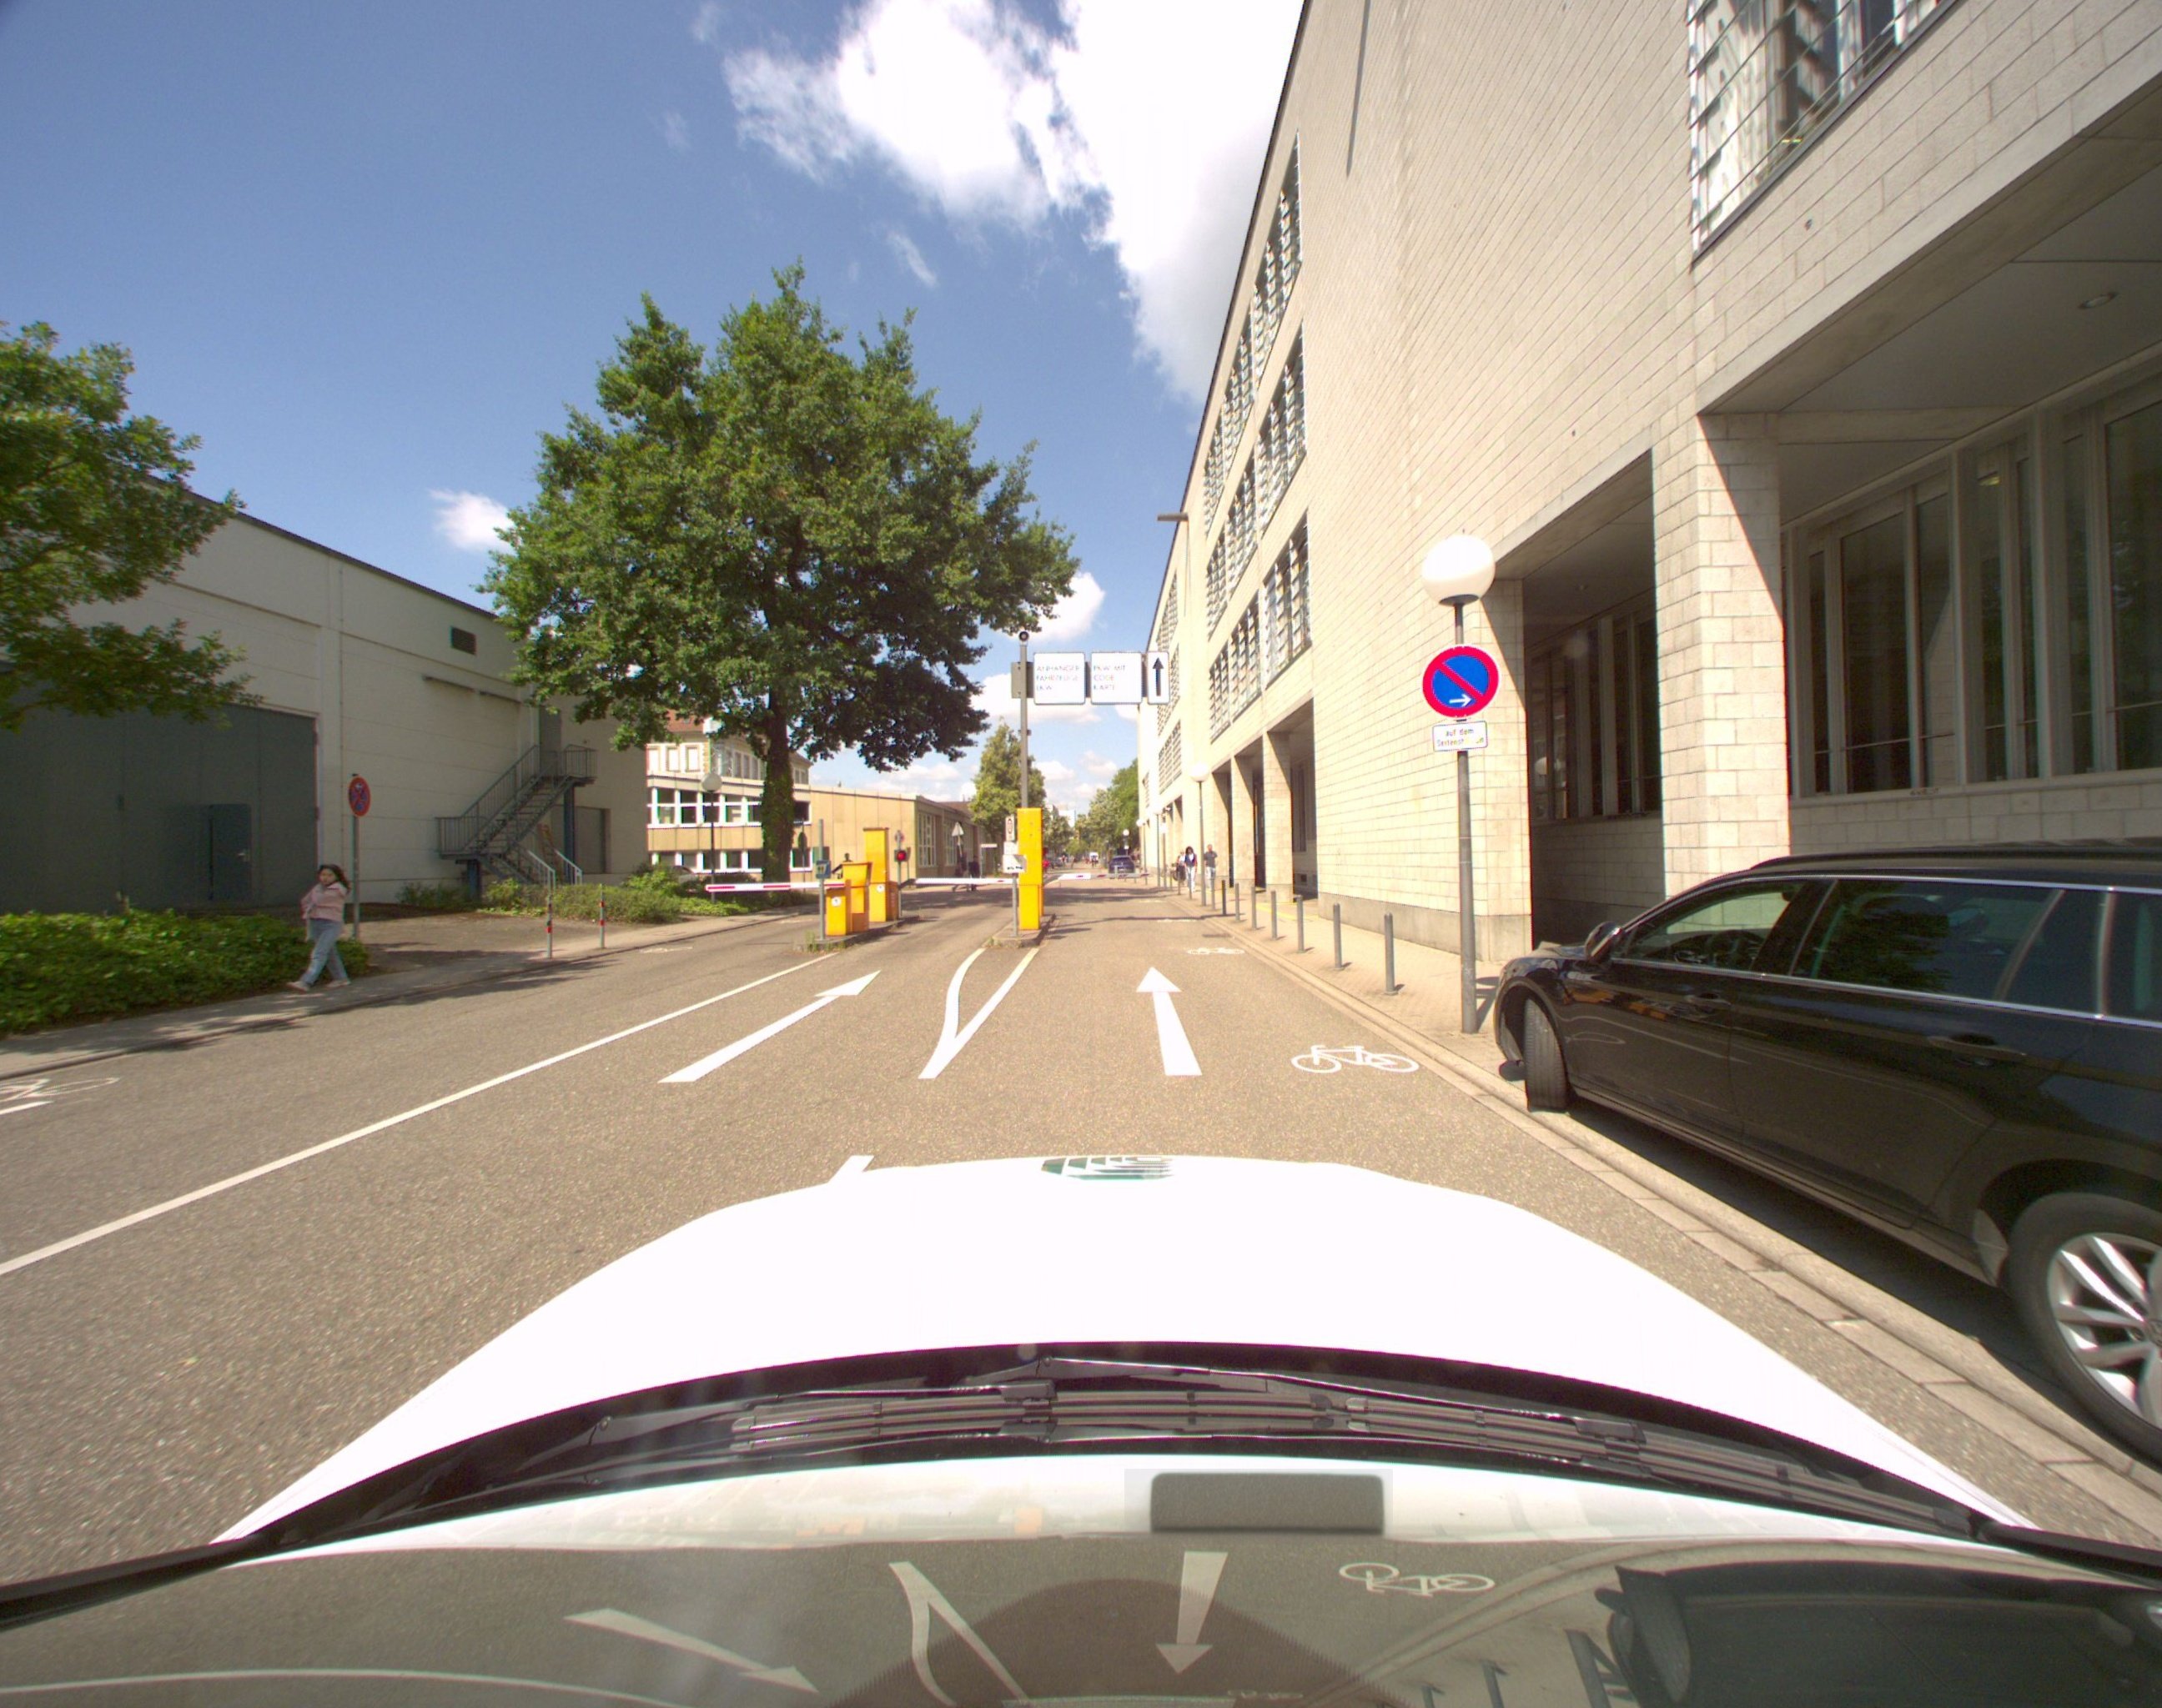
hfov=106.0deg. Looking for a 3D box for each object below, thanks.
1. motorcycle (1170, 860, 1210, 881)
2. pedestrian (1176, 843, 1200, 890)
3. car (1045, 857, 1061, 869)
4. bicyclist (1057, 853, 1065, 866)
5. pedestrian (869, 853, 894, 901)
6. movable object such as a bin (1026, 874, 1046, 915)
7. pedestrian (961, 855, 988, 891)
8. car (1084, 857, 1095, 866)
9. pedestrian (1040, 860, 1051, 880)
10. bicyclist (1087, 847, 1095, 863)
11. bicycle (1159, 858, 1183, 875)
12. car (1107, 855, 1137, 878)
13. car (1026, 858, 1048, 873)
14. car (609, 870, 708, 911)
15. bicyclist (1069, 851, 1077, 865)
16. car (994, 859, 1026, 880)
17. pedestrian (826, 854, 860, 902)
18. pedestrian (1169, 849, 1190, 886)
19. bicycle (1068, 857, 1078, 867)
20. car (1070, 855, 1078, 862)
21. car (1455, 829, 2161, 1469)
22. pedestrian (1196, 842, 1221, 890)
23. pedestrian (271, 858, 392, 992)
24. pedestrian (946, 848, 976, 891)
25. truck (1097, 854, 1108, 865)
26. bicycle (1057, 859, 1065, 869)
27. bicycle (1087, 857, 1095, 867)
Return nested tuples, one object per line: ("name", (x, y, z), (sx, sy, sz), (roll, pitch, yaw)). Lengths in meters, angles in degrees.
("motorcycle", (6.000, 0.899, 44.858), (2.115, 1.023, 0.660), (-3, -2, 2))
("pedestrian", (4.163, 0.482, 31.809), (0.692, 1.780, 1.085), (-3, 0, -1))
("car", (-3.952, 1.265, 114.970), (1.986, 1.546, 4.213), (-1, 0, 1))
("bicyclist", (-2.928, 0.822, 118.408), (0.986, 1.884, 1.034), (-1, -2, -7))
("pedestrian", (-7.703, 0.875, 31.465), (0.703, 1.809, 1.001), (-1, 0, 0))
("movable object such as a bin", (-1.020, 0.912, 18.506), (0.414, 0.905, 0.353), (-1, 0, 5))
("pedestrian", (-4.980, 0.877, 38.106), (0.902, 1.632, 0.876), (1, -2, -45))
("car", (1.816, 1.617, 172.631), (1.985, 1.720, 4.003), (-2, -2, 3))
("pedestrian", (-2.948, 1.350, 67.803), (0.891, 1.632, 0.887), (-1, -1, -2))
("bicyclist", (1.343, 0.180, 111.083), (0.984, 2.132, 1.036), (-2, -2, 0))
("bicycle", (6.013, 0.834, 54.511), (1.535, 1.066, 0.649), (-2, -1, 8))
("car", (2.882, 0.853, 57.415), (1.986, 1.546, 4.213), (-1, 0, 1))
("car", (-4.631, 1.209, 86.832), (1.986, 1.546, 4.213), (-1, 0, 1))
("car", (-17.330, 1.454, 33.673), (1.823, 1.467, 4.298), (-1, 0, 0))
("bicyclist", (-1.209, 0.580, 118.592), (0.987, 1.884, 1.032), (-1, -2, -11))
("car", (-5.595, 1.186, 64.751), (1.986, 1.546, 4.213), (-1, 0, 1))
("pedestrian", (-9.115, 0.910, 31.215), (1.053, 1.816, 0.806), (-1, 0, -1))
("pedestrian", (4.491, 0.597, 37.199), (0.739, 1.632, 0.887), (-3, 0, -1))
("bicycle", (-1.139, 1.226, 118.419), (0.987, 1.316, 2.953), (-1, -2, -10))
("car", (-1.890, 1.228, 219.762), (1.985, 1.720, 4.003), (-2, -2, 3))
("car", (3.411, 0.661, 3.181), (1.860, 1.464, 4.520), (-1, 0, 1))
("pedestrian", (4.974, 0.455, 31.773), (0.764, 1.780, 0.910), (-3, 0, -1))
("pedestrian", (-9.562, 0.874, 10.429), (0.711, 1.627, 0.883), (-1, 0, -1))
("pedestrian", (-5.463, 0.722, 37.110), (1.012, 1.925, 0.876), (1, -2, -45))
("truck", (4.332, 1.138, 162.644), (1.987, 2.014, 3.998), (-2, -2, -1))
("bicycle", (-2.897, 1.470, 118.458), (0.986, 1.316, 2.958), (-1, -2, -6))
("bicycle", (1.359, 1.120, 110.995), (0.984, 1.316, 2.963), (-2, -2, 0))
